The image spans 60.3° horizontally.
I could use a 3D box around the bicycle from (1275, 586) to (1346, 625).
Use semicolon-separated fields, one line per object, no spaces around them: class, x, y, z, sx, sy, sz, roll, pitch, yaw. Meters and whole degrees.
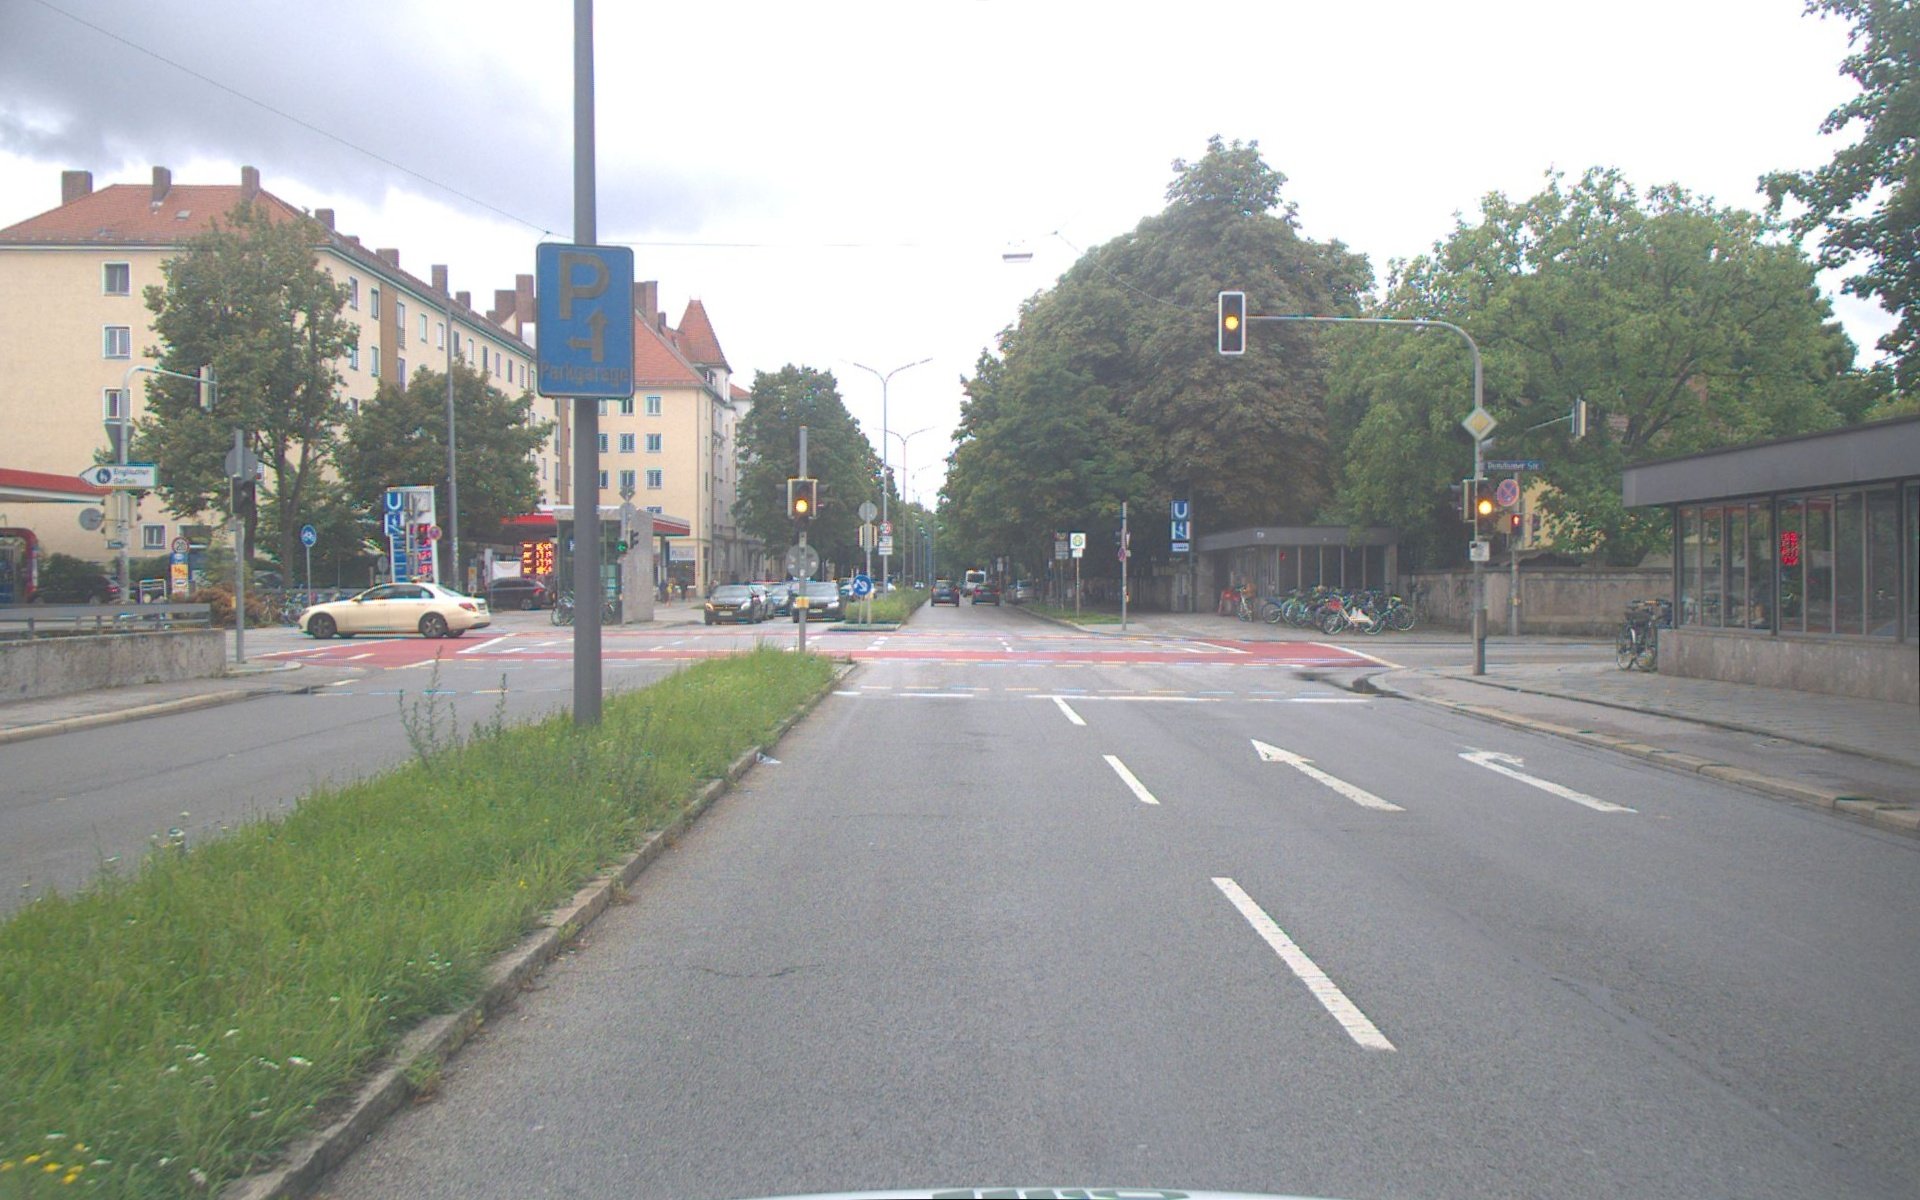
bicycle;10.751;0.165;50.766;2.097;1.199;0.603;0;0;8

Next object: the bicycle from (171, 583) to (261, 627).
bicycle;-22.755;0.162;50.632;2.351;1.273;0.790;2;0;-11

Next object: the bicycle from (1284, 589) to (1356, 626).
bicycle;10.885;0.224;50.030;2.097;1.105;0.603;0;0;8

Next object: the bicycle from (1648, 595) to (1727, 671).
bicycle;11.244;0.491;25.615;0.459;1.141;1.735;0;0;0

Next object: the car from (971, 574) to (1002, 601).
car;1.735;-0.813;108.509;1.883;1.713;4.000;2;0;0

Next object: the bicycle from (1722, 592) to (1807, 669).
bicycle;12.443;0.456;25.625;0.459;1.141;1.735;0;0;0

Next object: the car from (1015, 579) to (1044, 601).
car;4.540;-0.677;109.069;1.707;1.387;3.806;0;1;-1

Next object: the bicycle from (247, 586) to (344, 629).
bicycle;-20.516;0.232;51.096;2.676;1.273;0.785;2;0;-31

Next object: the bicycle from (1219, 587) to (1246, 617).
bicycle;9.583;0.076;58.306;0.545;1.032;2.015;0;1;-2

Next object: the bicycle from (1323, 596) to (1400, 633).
bicycle;11.427;0.415;47.131;2.097;1.032;0.634;0;0;8

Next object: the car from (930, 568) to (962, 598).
car;-0.822;-1.009;97.320;1.819;1.713;4.000;0;1;-1

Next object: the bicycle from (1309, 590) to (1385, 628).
bicycle;11.203;0.263;47.934;2.097;1.089;0.603;0;0;8

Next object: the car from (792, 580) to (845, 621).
car;-5.329;-0.004;62.596;1.724;1.519;4.000;0;1;-1

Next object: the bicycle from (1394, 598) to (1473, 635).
bicycle;13.572;0.475;47.453;2.097;1.032;0.634;0;0;8

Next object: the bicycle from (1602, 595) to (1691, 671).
bicycle;10.602;0.496;25.591;0.587;1.141;1.889;0;0;0

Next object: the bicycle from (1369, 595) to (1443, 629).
bicycle;13.429;0.359;49.810;2.097;1.032;0.634;0;0;8

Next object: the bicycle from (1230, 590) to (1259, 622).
bicycle;9.553;0.200;55.573;0.545;1.032;2.015;0;1;-2

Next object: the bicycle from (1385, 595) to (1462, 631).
bicycle;13.515;0.368;48.249;2.097;1.032;0.634;0;0;8

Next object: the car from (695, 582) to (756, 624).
car;-8.604;0.097;60.879;1.724;1.486;4.000;0;1;-1

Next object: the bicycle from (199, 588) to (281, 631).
bicycle;-21.764;0.282;50.004;2.141;1.257;0.763;0;1;-12

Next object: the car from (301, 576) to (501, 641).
car;-14.667;0.201;43.580;4.668;1.675;1.785;0;1;-1

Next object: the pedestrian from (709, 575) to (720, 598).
pedestrian;-17.856;-0.967;120.486;0.682;1.666;0.738;0;0;0

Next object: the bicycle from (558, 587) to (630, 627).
bicycle;-12.183;0.220;55.040;2.238;1.327;0.694;0;0;0

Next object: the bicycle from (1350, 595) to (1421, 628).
bicycle;13.414;0.351;52.176;2.097;1.032;0.634;0;0;8

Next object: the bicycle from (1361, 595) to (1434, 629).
bicycle;13.370;0.353;50.594;2.097;1.032;0.634;0;0;8

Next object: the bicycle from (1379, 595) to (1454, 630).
bicycle;13.515;0.367;49.016;2.097;1.032;0.634;0;0;8

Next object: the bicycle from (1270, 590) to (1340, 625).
bicycle;10.715;0.230;51.468;2.097;1.080;0.603;0;0;8

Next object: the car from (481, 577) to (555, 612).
car;-26.169;-0.339;97.975;3.909;2.049;1.889;0;1;-5

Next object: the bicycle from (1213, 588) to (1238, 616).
bicycle;9.873;0.063;61.622;0.545;1.032;2.015;0;1;-2

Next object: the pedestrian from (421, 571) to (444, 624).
pedestrian;-17.389;-0.079;54.529;0.583;1.725;0.571;0;0;-31

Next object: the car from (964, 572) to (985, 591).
car;1.395;-1.757;159.198;1.953;1.787;3.999;0;1;-1

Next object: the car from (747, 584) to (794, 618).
car;-8.607;0.032;75.508;1.724;1.486;4.000;0;1;-1

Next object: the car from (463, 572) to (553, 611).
car;-22.149;-0.440;81.194;3.907;1.870;1.879;0;1;-3

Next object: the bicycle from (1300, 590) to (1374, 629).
bicycle;11.063;0.283;48.587;2.097;1.120;0.603;0;0;8

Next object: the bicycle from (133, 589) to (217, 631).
bicycle;-23.663;0.298;49.898;2.140;1.257;0.764;0;1;-10

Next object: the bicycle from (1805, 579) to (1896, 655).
bicycle;13.777;0.257;25.633;0.459;1.141;1.735;0;0;0

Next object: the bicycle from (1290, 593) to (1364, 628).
bicycle;10.930;0.303;49.301;2.097;1.032;0.603;0;0;8

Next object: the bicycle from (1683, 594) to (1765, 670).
bicycle;11.812;0.477;25.625;0.459;1.141;1.735;0;0;0

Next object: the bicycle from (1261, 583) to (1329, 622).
bicycle;10.731;0.087;53.067;2.097;1.240;0.603;0;0;8

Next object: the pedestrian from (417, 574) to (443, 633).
pedestrian;-15.633;0.099;48.788;0.522;1.725;0.577;0;0;8

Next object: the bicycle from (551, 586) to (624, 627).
bicycle;-12.201;0.214;54.260;2.225;1.327;0.704;0;0;0

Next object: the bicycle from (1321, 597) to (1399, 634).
bicycle;11.236;0.432;46.505;2.097;1.032;0.603;0;0;8
